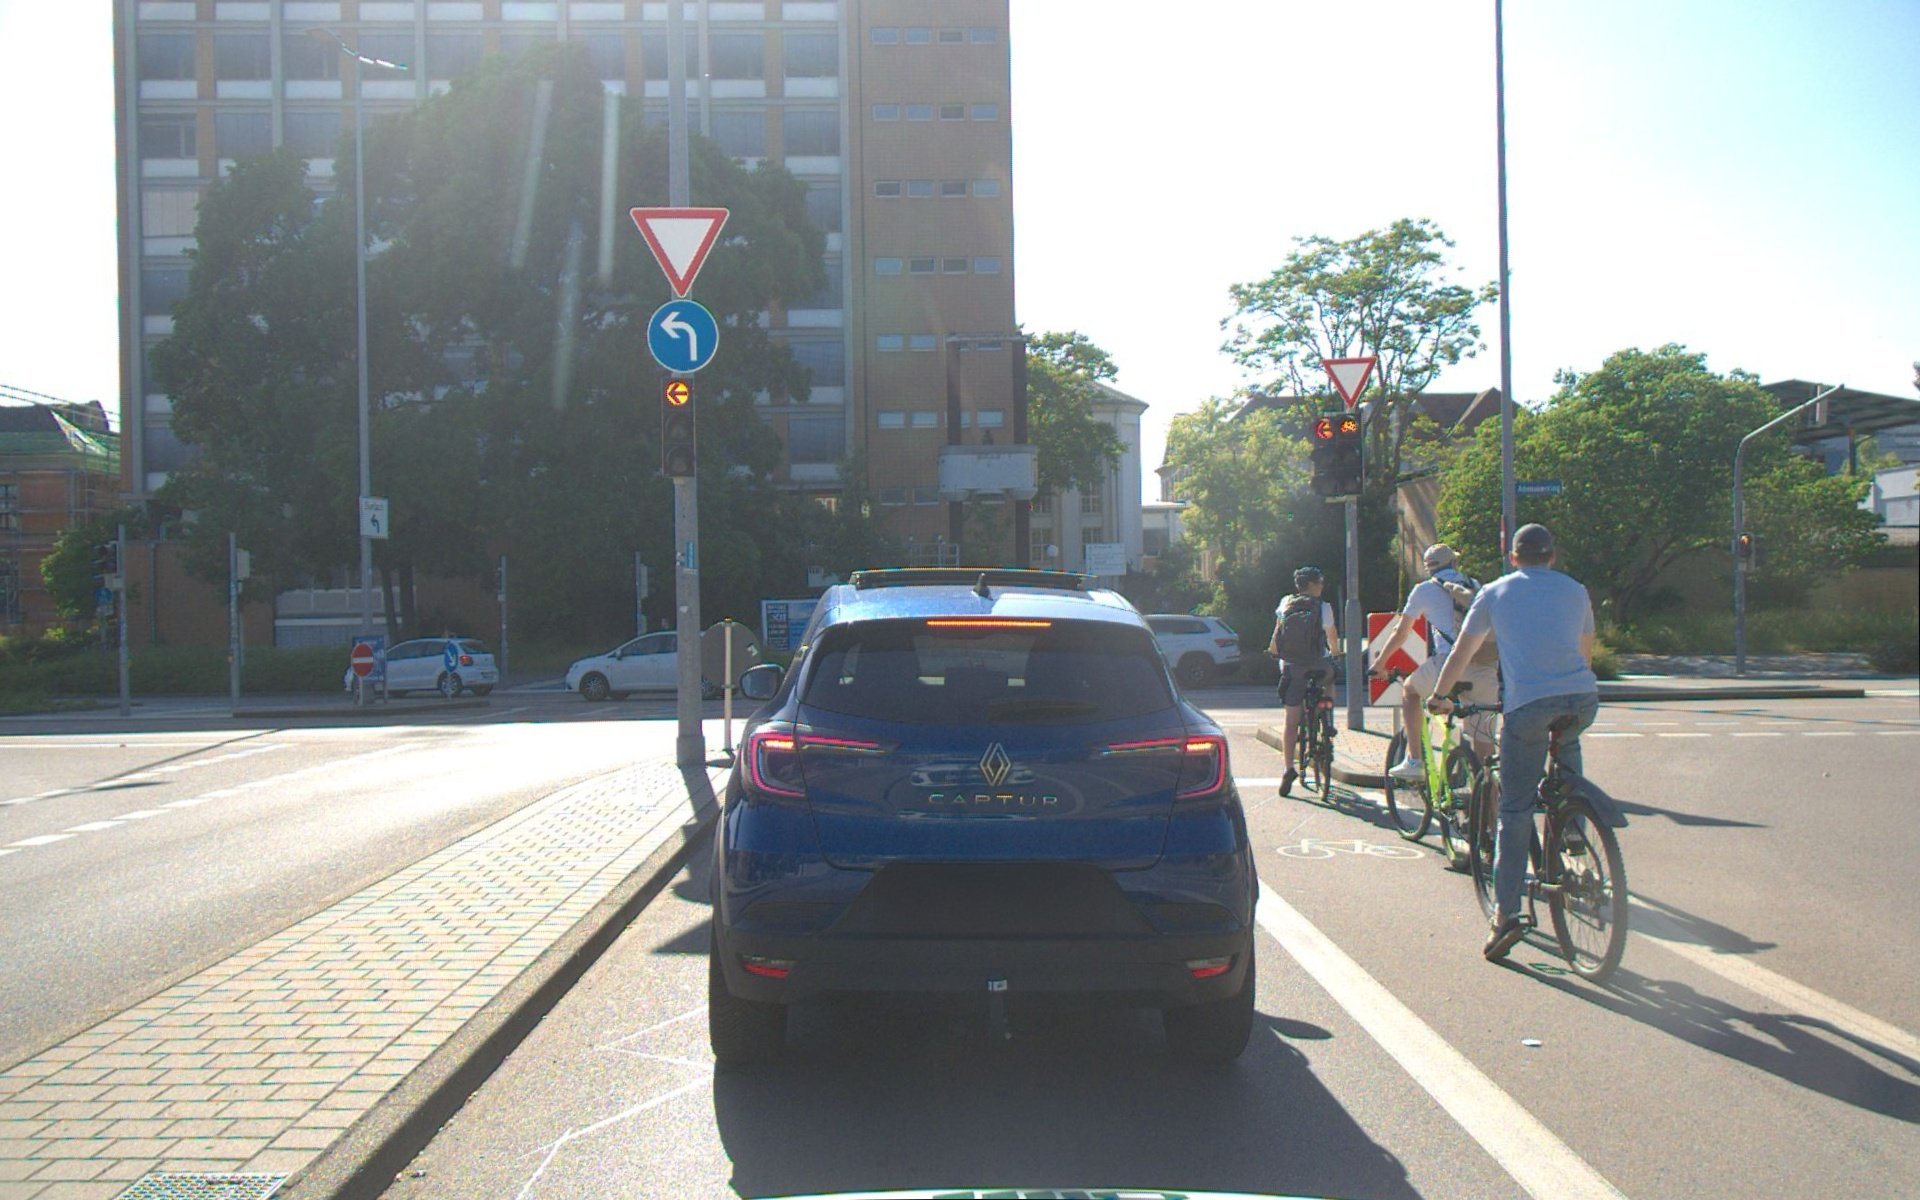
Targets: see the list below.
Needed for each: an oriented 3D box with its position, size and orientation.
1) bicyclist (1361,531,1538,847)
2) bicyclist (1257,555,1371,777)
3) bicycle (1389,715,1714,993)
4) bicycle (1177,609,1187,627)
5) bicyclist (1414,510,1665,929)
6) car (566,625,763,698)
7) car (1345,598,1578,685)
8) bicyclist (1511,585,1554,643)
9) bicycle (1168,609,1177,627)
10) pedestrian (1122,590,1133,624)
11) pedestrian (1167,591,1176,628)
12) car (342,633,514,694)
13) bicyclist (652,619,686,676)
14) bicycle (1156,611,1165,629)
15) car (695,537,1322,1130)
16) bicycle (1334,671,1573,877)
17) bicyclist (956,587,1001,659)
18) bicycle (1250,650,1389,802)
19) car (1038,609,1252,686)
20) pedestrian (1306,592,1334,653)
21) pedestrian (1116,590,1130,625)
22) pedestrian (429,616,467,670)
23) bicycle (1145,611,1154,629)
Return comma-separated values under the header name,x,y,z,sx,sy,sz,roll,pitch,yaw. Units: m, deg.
name,x,y,z,sx,sy,sz,roll,pitch,yaw
bicyclist,2.884,0.506,9.840,0.633,1.769,1.065,1,0,-6
bicyclist,2.761,0.498,12.974,0.711,1.657,0.969,1,0,3
bicycle,2.504,1.034,7.273,0.725,0.911,1.978,1,0,0
bicycle,12.682,1.031,94.588,0.397,0.990,1.684,1,0,3
bicyclist,2.509,0.489,7.270,0.736,1.698,1.016,1,0,0
car,-6.264,1.305,35.244,3.754,1.460,1.744,-1,0,9
car,10.086,0.833,33.552,4.279,1.660,1.846,-1,0,9
bicyclist,14.704,0.357,42.486,0.916,1.454,0.599,-1,0,7
bicycle,12.158,1.021,94.567,0.397,0.990,1.684,1,0,3
pedestrian,9.303,0.382,91.885,0.599,1.888,0.467,-1,0,5
pedestrian,11.829,0.537,92.561,0.465,2.049,0.468,-1,0,5
car,-13.379,1.607,41.669,3.754,1.460,1.744,-1,-2,13
bicyclist,-7.670,1.238,43.645,0.728,1.466,0.593,-1,0,-27
bicycle,11.406,1.153,94.187,0.397,0.990,1.684,1,0,3
car,0.062,0.665,6.681,1.767,1.660,3.998,1,0,-3
bicycle,2.872,0.975,9.844,0.646,1.020,1.967,1,0,-6
bicyclist,0.487,0.614,44.009,1.078,1.900,0.653,-1,0,10
bicycle,2.763,0.933,12.923,0.723,1.012,2.174,1,0,3
car,4.256,1.082,37.788,4.720,1.660,1.846,-1,0,11
pedestrian,9.774,0.598,44.913,0.721,1.631,0.599,-1,0,12
pedestrian,8.842,0.423,89.728,0.612,1.888,0.562,-1,0,-10
pedestrian,-15.624,1.313,50.449,0.841,1.598,0.560,-4,0,12
bicycle,10.797,1.143,94.222,0.397,0.990,1.684,1,0,3
